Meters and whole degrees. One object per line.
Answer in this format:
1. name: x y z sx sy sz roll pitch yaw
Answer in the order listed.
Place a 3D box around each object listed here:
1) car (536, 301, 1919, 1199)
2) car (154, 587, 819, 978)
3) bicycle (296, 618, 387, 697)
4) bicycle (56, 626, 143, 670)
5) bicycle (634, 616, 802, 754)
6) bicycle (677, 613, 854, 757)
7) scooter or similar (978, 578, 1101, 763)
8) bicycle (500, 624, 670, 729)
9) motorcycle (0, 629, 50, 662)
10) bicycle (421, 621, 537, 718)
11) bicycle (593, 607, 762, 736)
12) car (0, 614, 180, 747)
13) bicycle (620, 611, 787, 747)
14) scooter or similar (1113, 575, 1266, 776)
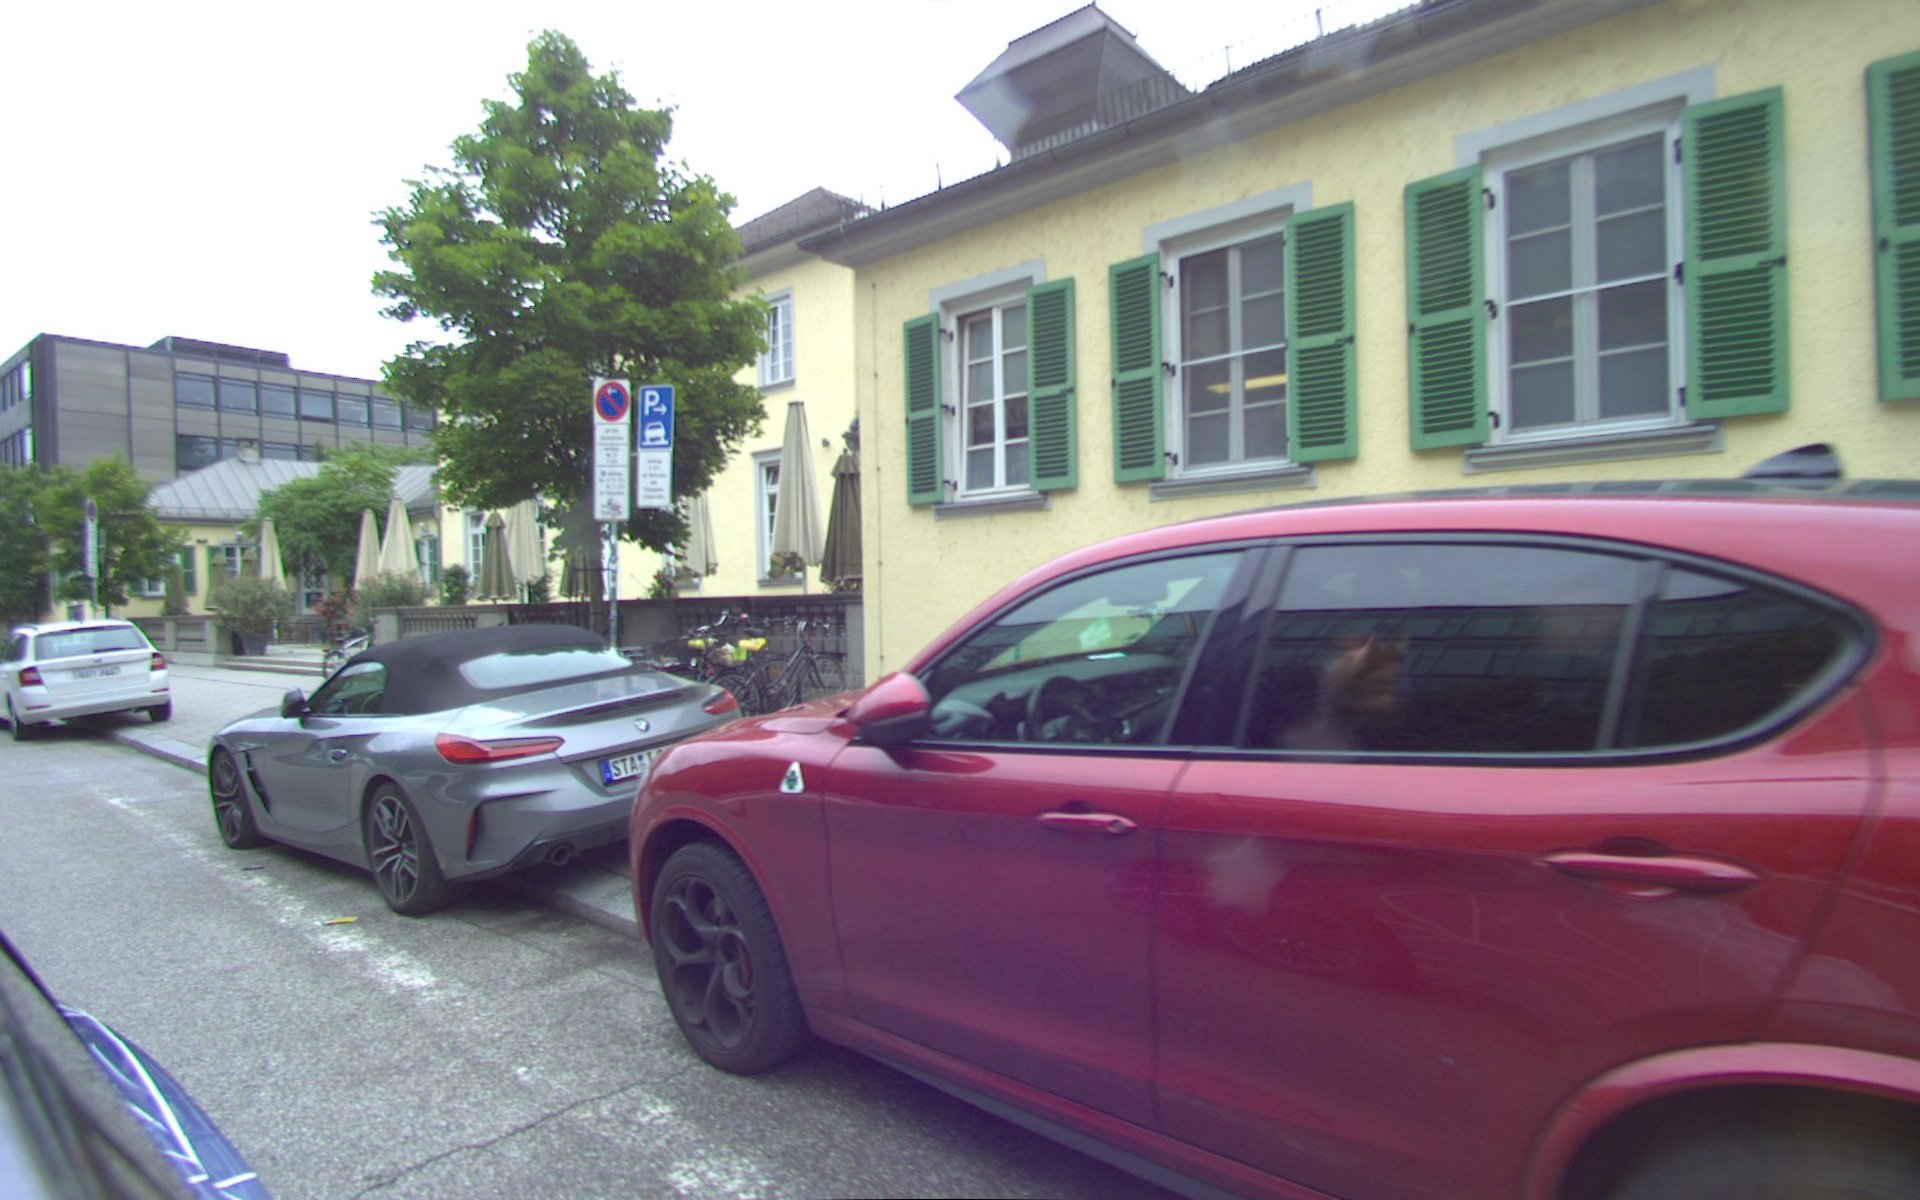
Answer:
1. car: 0.870 0.479 2.783 4.808 1.704 1.882 -2 1 43
2. car: -3.194 0.788 6.317 4.650 1.530 1.878 -2 1 39
3. bicycle: -10.709 0.973 17.583 0.563 1.271 1.568 -2 0 1
4. bicycle: -25.412 1.394 29.913 0.466 1.042 1.825 -2 4 40
5. bicycle: -2.256 0.758 9.597 0.387 1.145 1.612 -2 0 39
6. bicycle: -1.764 0.732 9.331 0.642 1.157 1.474 -2 0 43
7. scooter or similar: 0.605 0.522 8.110 0.370 1.353 1.357 -2 0 -22
8. bicycle: -4.345 0.856 11.791 1.703 1.035 0.645 -3 0 -42
9. motorcycle: -36.013 1.734 38.713 1.641 1.120 0.591 -4 3 -9
10. bicycle: -6.057 0.845 12.841 0.629 1.096 1.633 -2 0 1
11. bicycle: -2.906 0.700 10.502 1.609 1.182 0.467 -2 0 -41
12. car: -12.620 1.018 14.263 4.459 1.503 1.707 -2 1 41
13. bicycle: -2.471 0.725 9.925 0.352 1.180 1.684 -2 0 39
14. scooter or similar: 1.624 0.503 7.329 0.358 1.324 1.257 -2 0 -24
